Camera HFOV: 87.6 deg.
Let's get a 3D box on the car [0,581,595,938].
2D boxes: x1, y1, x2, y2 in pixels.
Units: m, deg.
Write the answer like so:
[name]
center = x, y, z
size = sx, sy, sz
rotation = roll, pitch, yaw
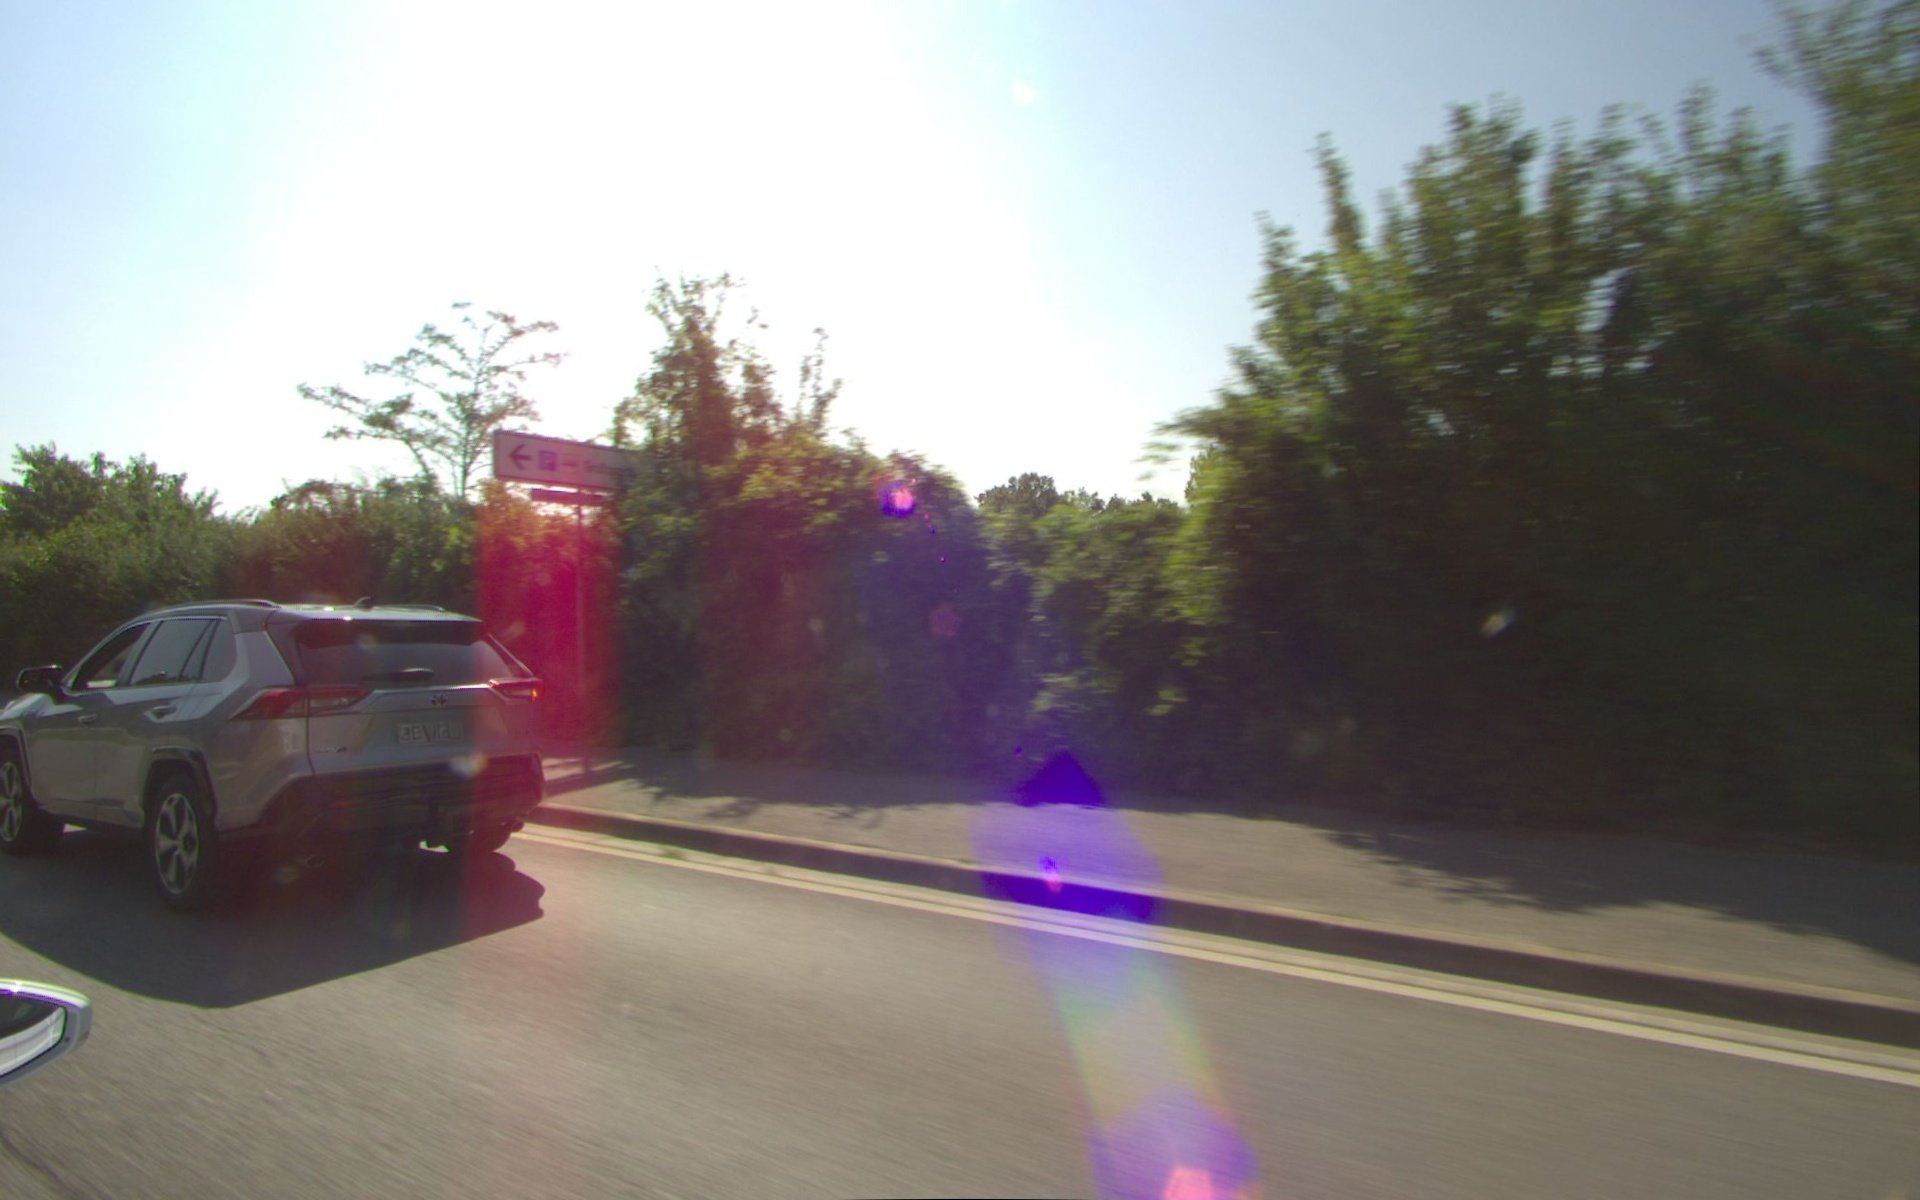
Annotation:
[car]
center = -4.789, 0.809, 6.828
size = 4.616, 1.701, 1.899
rotation = -1, -1, 32
